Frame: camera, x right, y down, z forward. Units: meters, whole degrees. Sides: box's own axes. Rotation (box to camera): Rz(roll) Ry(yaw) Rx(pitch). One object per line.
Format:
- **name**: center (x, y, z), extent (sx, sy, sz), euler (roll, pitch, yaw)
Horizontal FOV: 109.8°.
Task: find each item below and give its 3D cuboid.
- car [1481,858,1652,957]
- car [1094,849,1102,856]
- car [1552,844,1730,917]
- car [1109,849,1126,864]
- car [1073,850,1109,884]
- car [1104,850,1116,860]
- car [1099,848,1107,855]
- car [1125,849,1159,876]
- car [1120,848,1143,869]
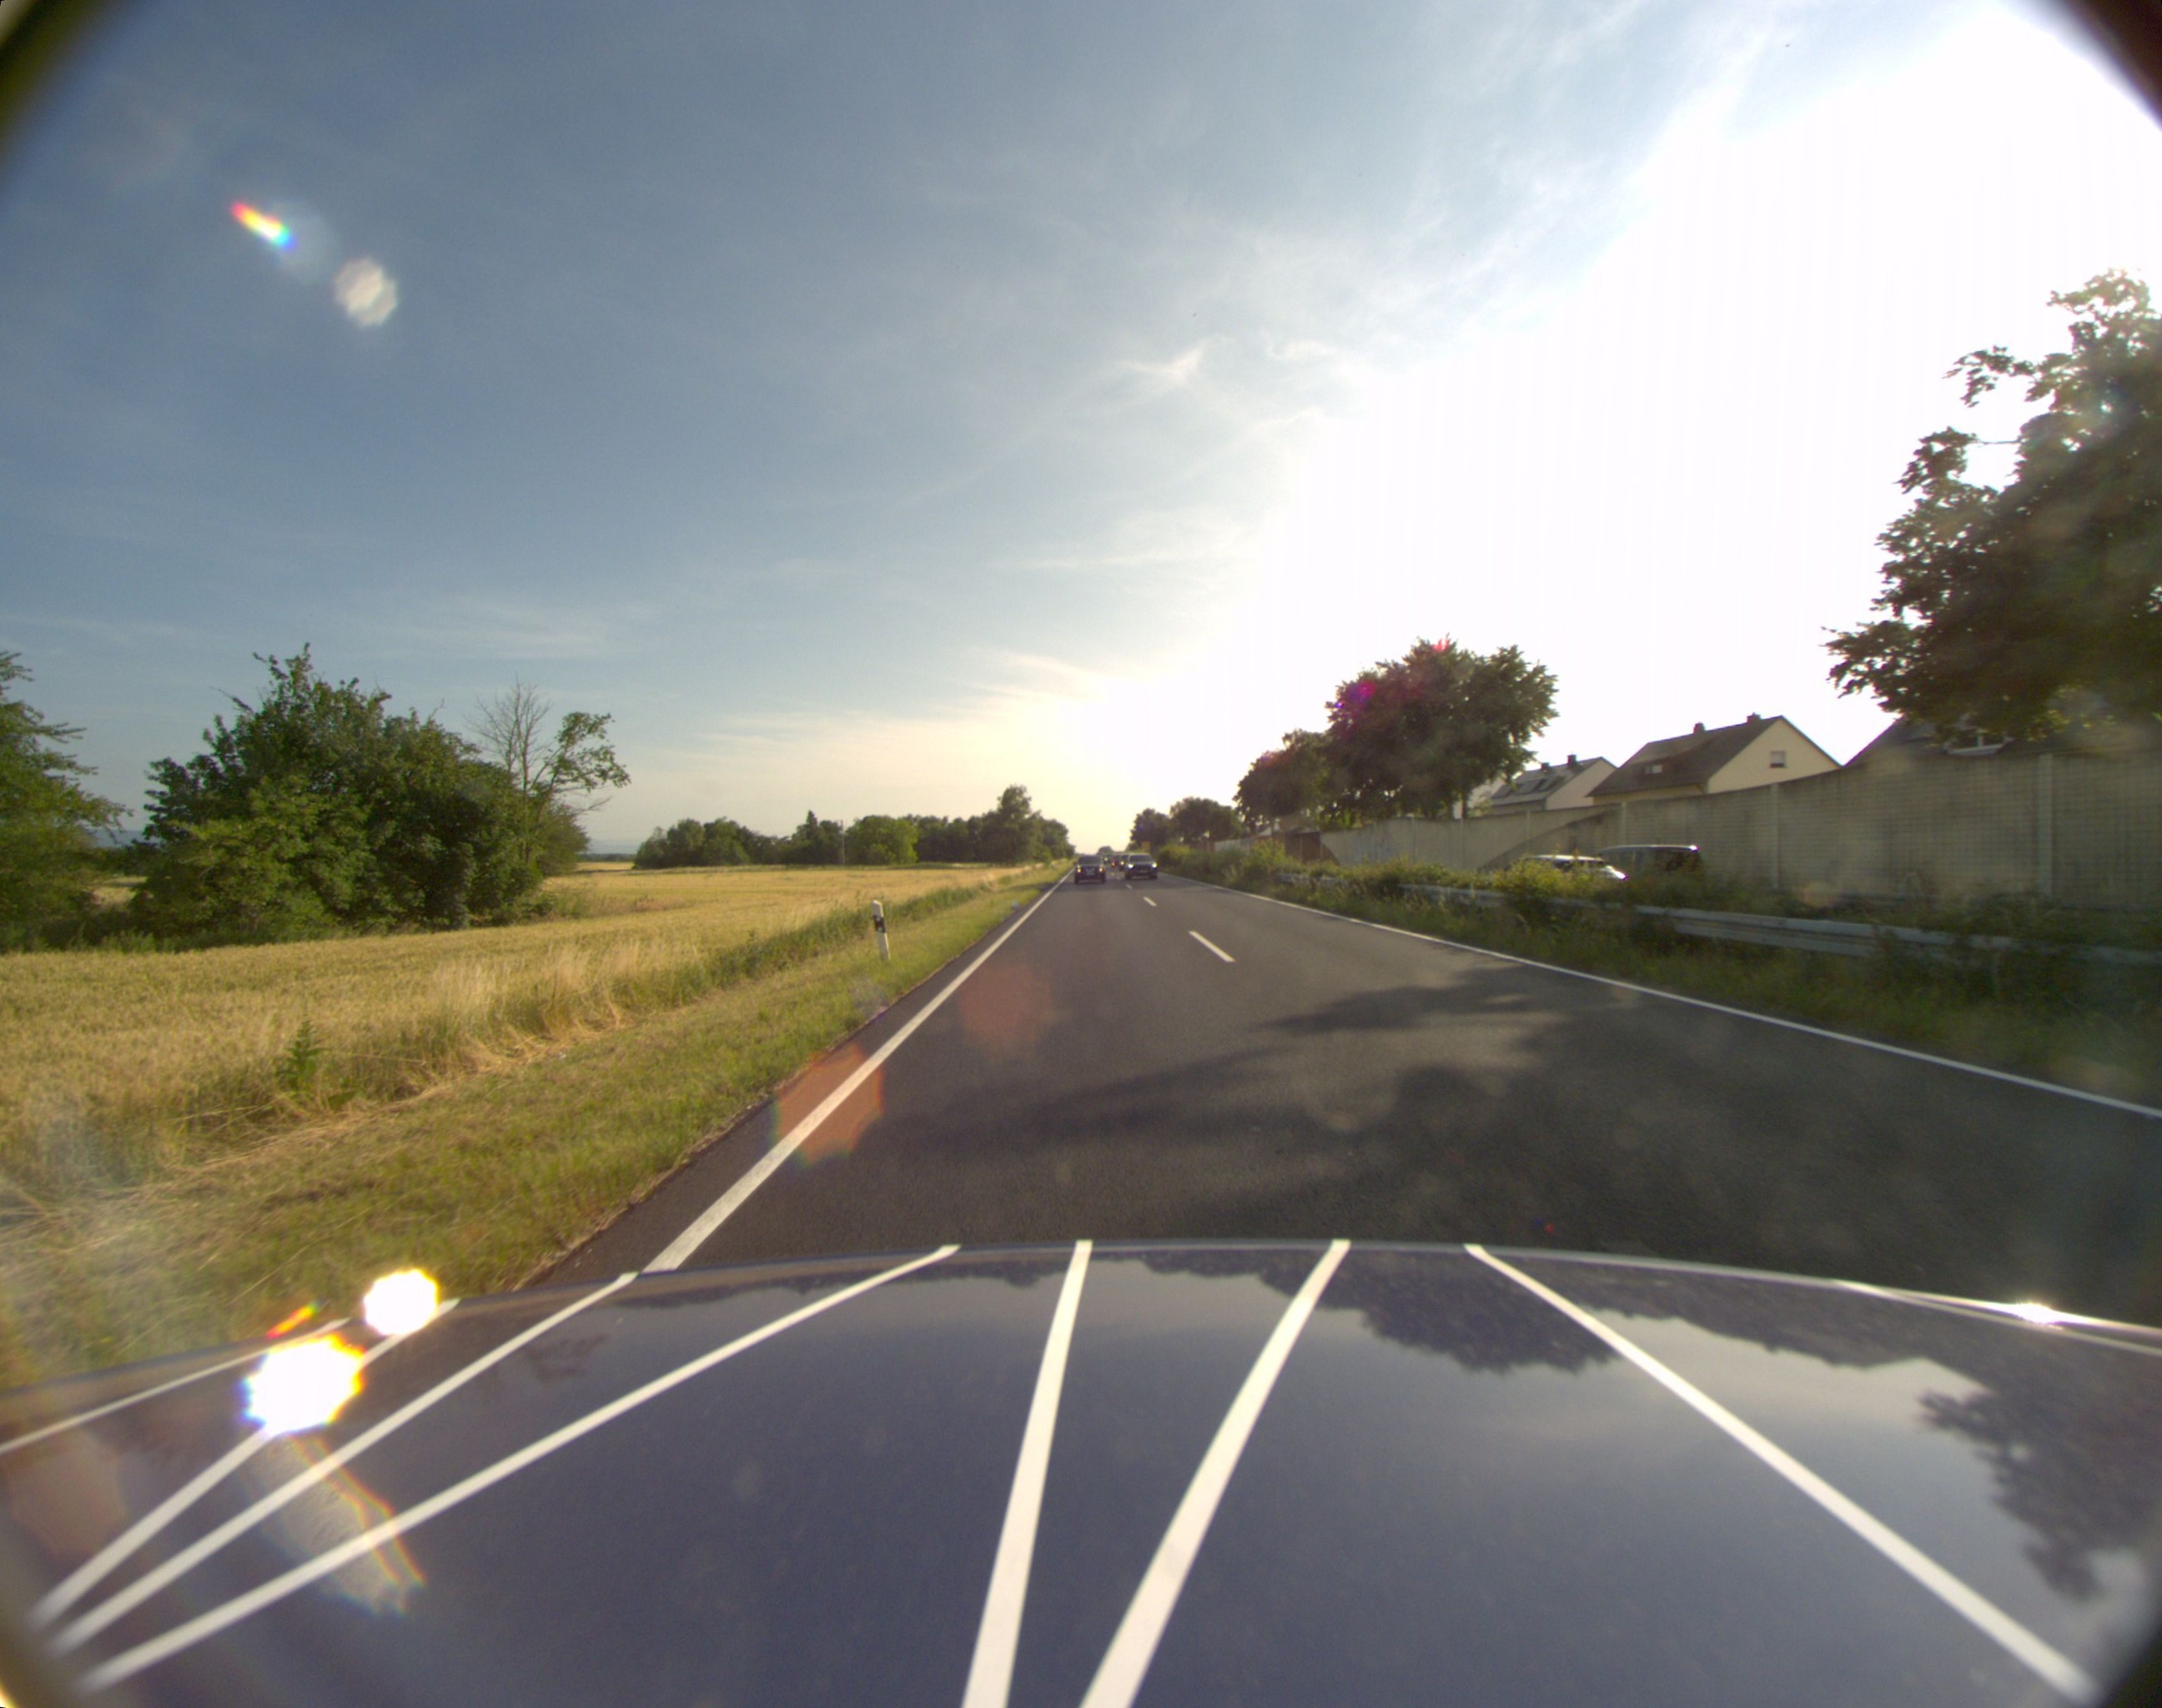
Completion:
- **car**: center (11.334, 1.156, 18.043), extent (1.813, 2.002, 3.491), euler (-2, 1, 1)
- **car**: center (4.596, -0.430, 205.599), extent (1.854, 1.641, 3.999), euler (-2, 1, 0)
- **car**: center (15.461, 0.645, 21.324), extent (1.842, 1.784, 4.299), euler (-2, 1, 1)
- **car**: center (4.385, 0.277, 91.844), extent (1.822, 1.661, 4.000), euler (-2, 1, 1)
- **car**: center (0.570, 0.682, 41.754), extent (1.822, 1.661, 4.000), euler (-2, 1, 1)
- **car**: center (4.398, 0.198, 117.418), extent (1.700, 1.456, 3.646), euler (-2, 1, 1)
- **car**: center (5.153, -0.608, 179.890), extent (1.693, 1.397, 4.000), euler (-2, 1, 1)
- **car**: center (3.769, 0.495, 47.513), extent (1.821, 1.516, 4.246), euler (-2, 1, 1)
- **car**: center (4.488, 0.404, 68.424), extent (1.822, 1.724, 4.000), euler (-2, 1, 2)
